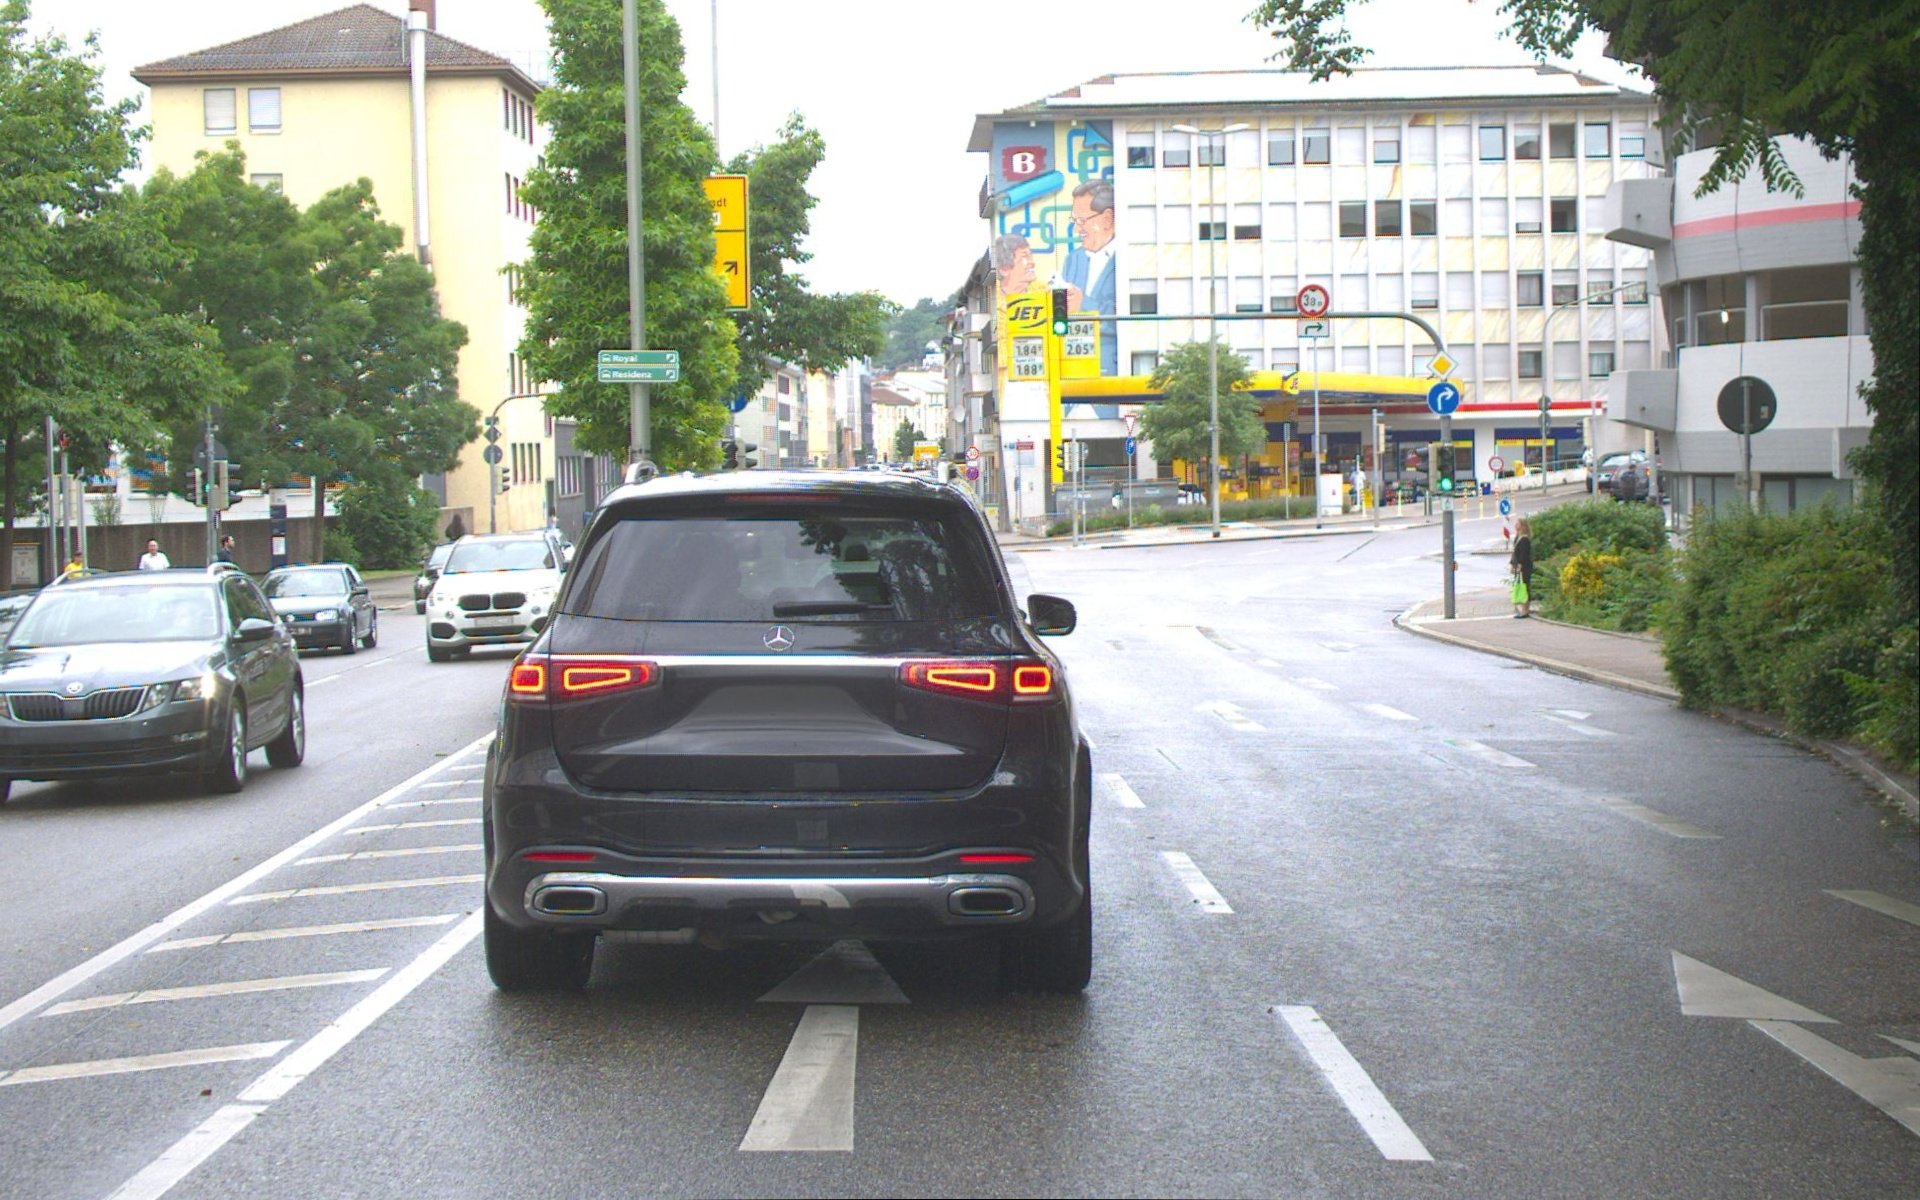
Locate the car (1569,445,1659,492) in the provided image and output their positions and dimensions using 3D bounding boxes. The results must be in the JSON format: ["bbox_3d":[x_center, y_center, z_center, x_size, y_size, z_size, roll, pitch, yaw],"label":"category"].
[{"bbox_3d":[25.306,-5.092,132.943,1.997,1.700,3.993,-1,2,33],"label":"car"}]

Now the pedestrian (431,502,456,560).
[{"bbox_3d":[-15.722,-2.101,104.739,0.648,1.721,0.629,-2,2,-4],"label":"pedestrian"}]

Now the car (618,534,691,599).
[{"bbox_3d":[-8.251,-0.921,93.000,1.732,1.620,4.232,-3,1,-3],"label":"car"}]

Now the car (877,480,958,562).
[{"bbox_3d":[-1.087,-1.984,87.292,1.993,2.007,4.000,1,0,-1],"label":"car"}]

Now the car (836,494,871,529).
[{"bbox_3d":[-6.454,-5.358,208.788,1.993,2.007,4.000,1,0,0],"label":"car"}]

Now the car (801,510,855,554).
[{"bbox_3d":[-5.155,-2.642,134.145,1.993,1.609,4.190,1,0,-3],"label":"car"}]

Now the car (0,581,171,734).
[{"bbox_3d":[-9.448,0.571,35.246,1.829,1.383,4.230,-3,1,-2],"label":"car"}]

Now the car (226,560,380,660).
[{"bbox_3d":[-10.294,0.126,54.124,1.745,1.407,3.971,-3,1,-2],"label":"car"}]

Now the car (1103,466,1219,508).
[{"bbox_3d":[7.166,-4.047,122.965,1.732,1.371,3.998,-3,2,-44],"label":"car"}]

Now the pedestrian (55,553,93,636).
[{"bbox_3d":[-16.618,-0.101,64.463,0.439,1.528,0.545,-1,2,14],"label":"pedestrian"}]

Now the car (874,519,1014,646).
[{"bbox_3d":[-0.256,-0.266,51.617,1.993,1.794,4.000,1,0,-1],"label":"car"}]

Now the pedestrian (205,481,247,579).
[{"bbox_3d":[-13.260,-1.274,62.113,0.687,1.751,0.718,-1,2,-11],"label":"pedestrian"}]

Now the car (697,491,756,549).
[{"bbox_3d":[-7.883,-2.696,116.347,1.792,1.847,4.793,-3,1,-3],"label":"car"}]

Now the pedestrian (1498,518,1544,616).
[{"bbox_3d":[9.756,-0.570,59.806,0.646,1.704,0.470,0,0,36],"label":"pedestrian"}]

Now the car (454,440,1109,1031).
[{"bbox_3d":[-0.572,0.406,12.590,1.993,1.794,4.000,1,0,-1],"label":"car"}]

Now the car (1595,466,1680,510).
[{"bbox_3d":[23.891,-3.933,121.071,1.799,1.520,4.049,2,2,28],"label":"car"}]

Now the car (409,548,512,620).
[{"bbox_3d":[-10.648,-0.365,73.517,1.732,1.389,4.200,-3,1,-3],"label":"car"}]

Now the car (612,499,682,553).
[{"bbox_3d":[-10.002,-2.373,110.116,1.888,1.581,4.537,-3,1,-2],"label":"car"}]

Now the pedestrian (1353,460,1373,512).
[{"bbox_3d":[13.445,-3.807,114.827,0.572,1.691,0.631,1,0,1],"label":"pedestrian"}]

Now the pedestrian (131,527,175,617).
[{"bbox_3d":[-15.083,-0.533,64.286,0.689,1.650,0.613,-2,2,-7],"label":"pedestrian"}]

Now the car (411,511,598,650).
[{"bbox_3d":[-6.474,-0.306,49.354,1.891,1.805,4.575,-3,1,1],"label":"car"}]

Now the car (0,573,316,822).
[{"bbox_3d":[-5.622,0.600,23.405,1.811,1.457,4.289,-3,1,-3],"label":"car"}]

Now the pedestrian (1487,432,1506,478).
[{"bbox_3d":[20.491,-5.541,131.245,0.526,1.721,0.688,0,2,26],"label":"pedestrian"}]
